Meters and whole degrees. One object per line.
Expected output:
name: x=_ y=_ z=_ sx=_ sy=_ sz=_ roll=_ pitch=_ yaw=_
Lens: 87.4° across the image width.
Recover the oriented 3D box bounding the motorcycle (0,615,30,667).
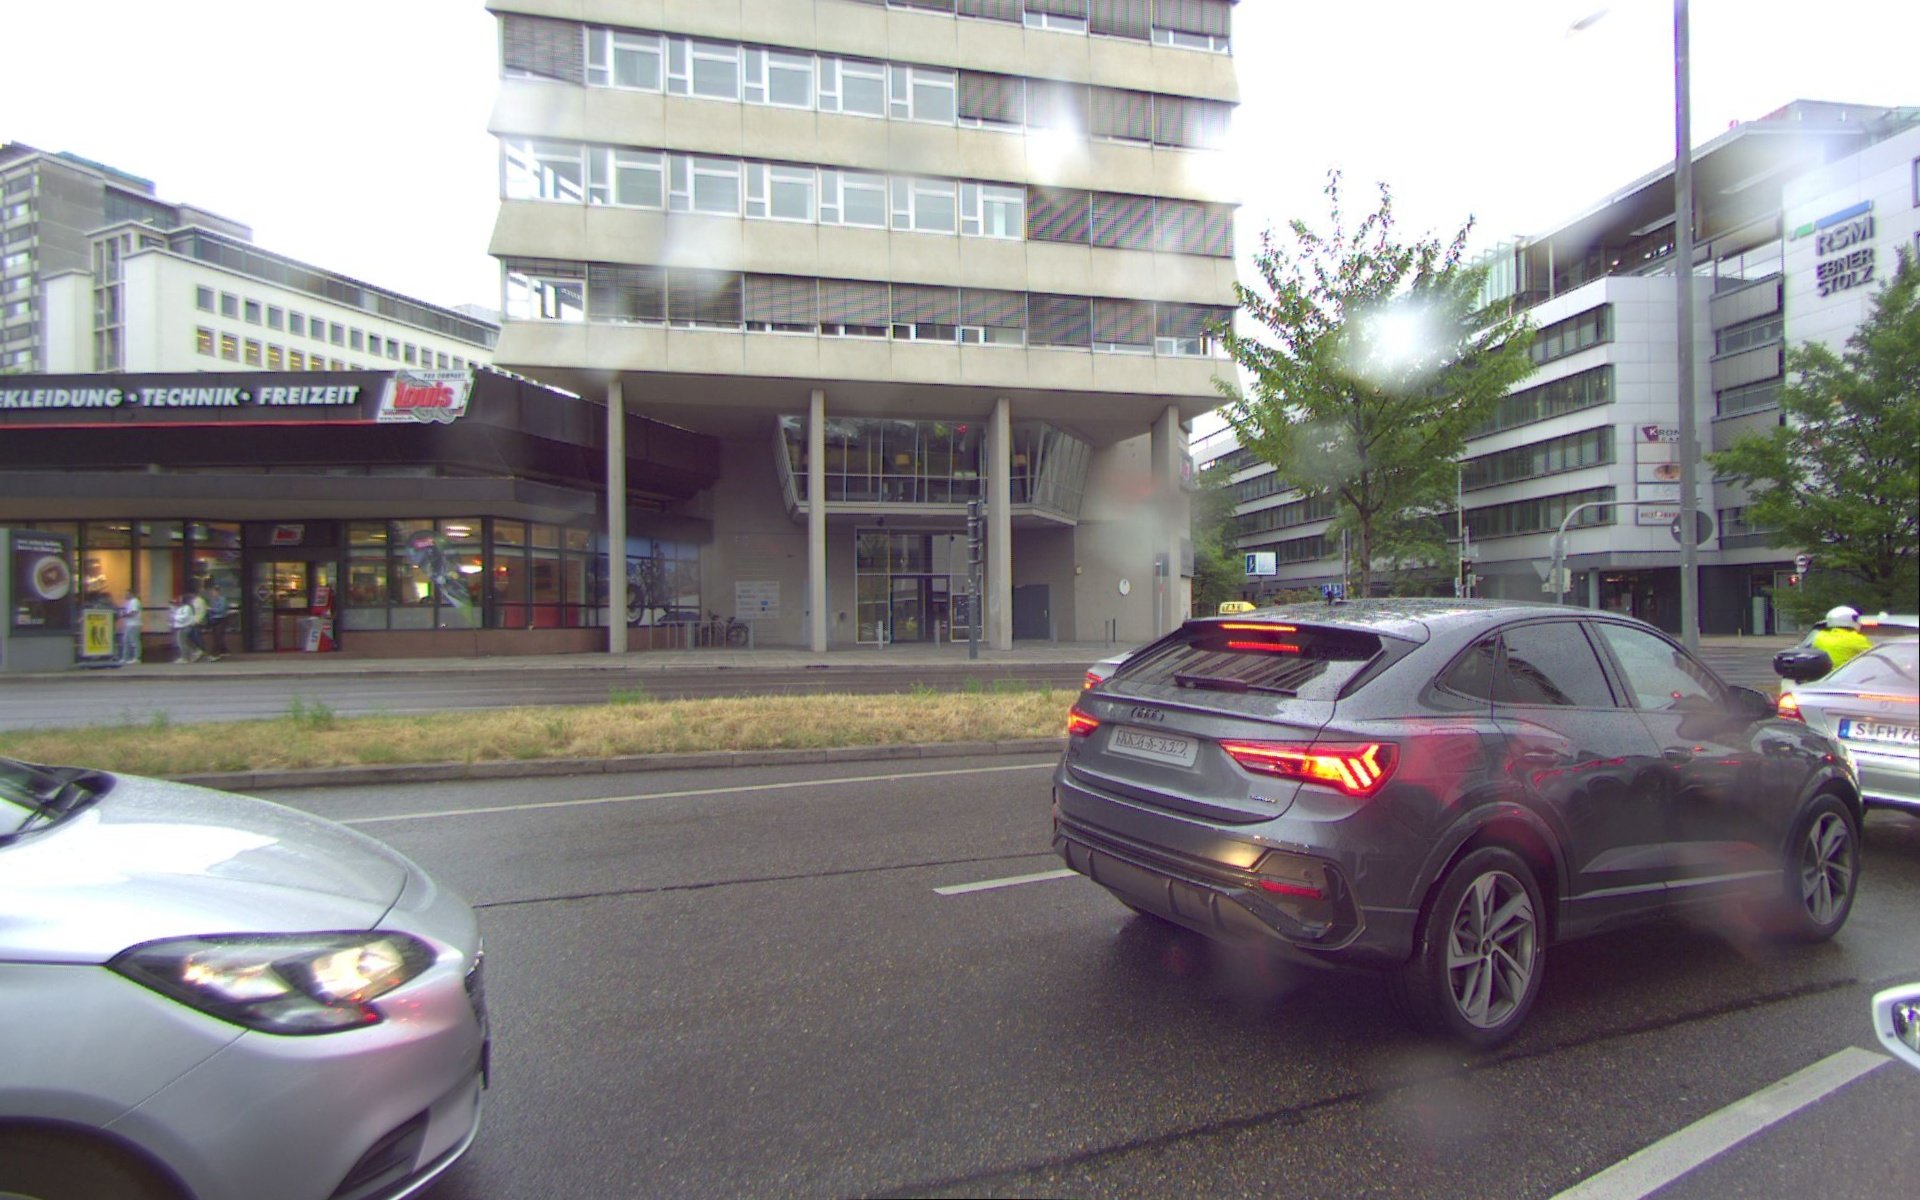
motorcycle: x=-23.524 y=0.984 z=24.196 sx=0.353 sy=1.249 sz=1.669 roll=1 pitch=0 yaw=20

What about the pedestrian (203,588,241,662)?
pedestrian: x=-18.031 y=0.603 z=24.542 sx=0.548 sy=1.767 sz=0.541 roll=1 pitch=0 yaw=-9

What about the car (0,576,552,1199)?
car: x=-2.864 y=0.667 z=1.690 sx=3.831 sy=1.455 sz=1.639 roll=1 pitch=0 yaw=-32

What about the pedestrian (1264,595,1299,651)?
pedestrian: x=9.892 y=0.694 z=30.925 sx=0.751 sy=1.706 sz=0.677 roll=1 pitch=0 yaw=-16

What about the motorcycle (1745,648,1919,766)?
motorcycle: x=9.873 y=1.167 z=11.239 sx=1.998 sy=1.200 sz=0.799 roll=2 pitch=0 yaw=-21

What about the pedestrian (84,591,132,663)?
pedestrian: x=-19.570 y=0.621 z=23.082 sx=0.601 sy=1.633 sz=0.614 roll=1 pitch=0 yaw=-9

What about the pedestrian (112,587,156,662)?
pedestrian: x=-19.682 y=0.574 z=23.947 sx=0.548 sy=1.767 sz=0.614 roll=1 pitch=0 yaw=-9

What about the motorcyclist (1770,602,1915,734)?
motorcyclist: x=9.866 y=0.740 z=11.241 sx=1.101 sy=1.398 sz=0.769 roll=2 pitch=0 yaw=-21

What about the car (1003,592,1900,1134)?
car: x=2.417 y=0.773 z=4.632 sx=4.220 sy=1.542 sz=1.640 roll=1 pitch=0 yaw=-30

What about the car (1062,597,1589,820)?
car: x=3.383 y=0.793 z=9.025 sx=4.720 sy=1.554 sz=1.856 roll=1 pitch=0 yaw=-30

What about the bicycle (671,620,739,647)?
bicycle: x=-8.620 y=1.124 z=33.961 sx=2.165 sy=0.871 sz=0.456 roll=2 pitch=0 yaw=-31

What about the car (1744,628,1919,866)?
car: x=7.682 y=0.974 z=7.097 sx=4.050 sy=1.426 sz=1.567 roll=2 pitch=0 yaw=-22

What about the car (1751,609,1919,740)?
car: x=12.638 y=0.932 z=13.214 sx=3.940 sy=1.506 sz=1.704 roll=2 pitch=0 yaw=-21

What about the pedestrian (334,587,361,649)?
pedestrian: x=-17.482 y=0.512 z=28.683 sx=0.436 sy=1.741 sz=0.509 roll=1 pitch=0 yaw=3

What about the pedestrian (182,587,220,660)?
pedestrian: x=-18.736 y=0.582 z=24.798 sx=0.548 sy=1.767 sz=0.541 roll=1 pitch=0 yaw=-9

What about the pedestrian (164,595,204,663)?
pedestrian: x=-18.330 y=0.678 z=23.735 sx=0.548 sy=1.591 sz=0.541 roll=1 pitch=0 yaw=-9
